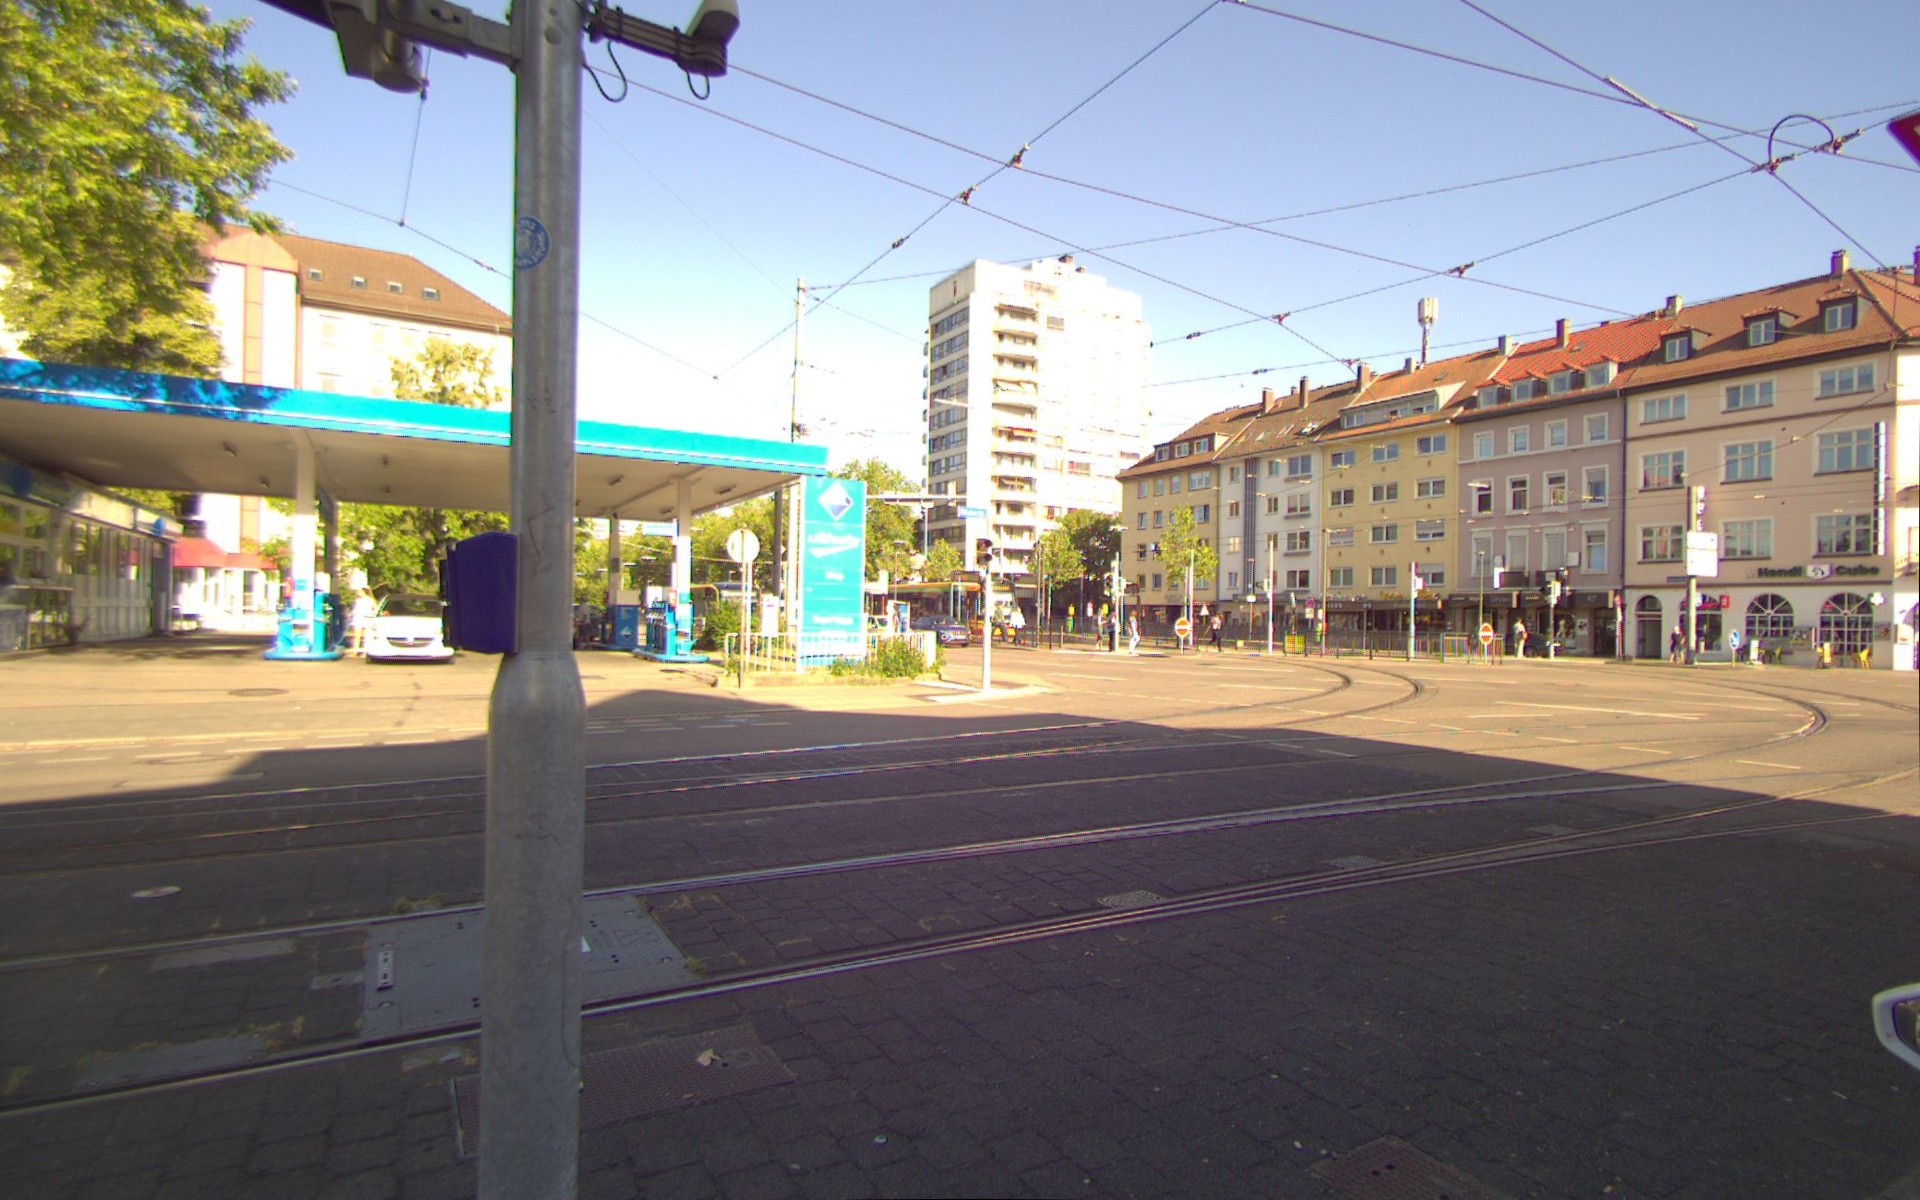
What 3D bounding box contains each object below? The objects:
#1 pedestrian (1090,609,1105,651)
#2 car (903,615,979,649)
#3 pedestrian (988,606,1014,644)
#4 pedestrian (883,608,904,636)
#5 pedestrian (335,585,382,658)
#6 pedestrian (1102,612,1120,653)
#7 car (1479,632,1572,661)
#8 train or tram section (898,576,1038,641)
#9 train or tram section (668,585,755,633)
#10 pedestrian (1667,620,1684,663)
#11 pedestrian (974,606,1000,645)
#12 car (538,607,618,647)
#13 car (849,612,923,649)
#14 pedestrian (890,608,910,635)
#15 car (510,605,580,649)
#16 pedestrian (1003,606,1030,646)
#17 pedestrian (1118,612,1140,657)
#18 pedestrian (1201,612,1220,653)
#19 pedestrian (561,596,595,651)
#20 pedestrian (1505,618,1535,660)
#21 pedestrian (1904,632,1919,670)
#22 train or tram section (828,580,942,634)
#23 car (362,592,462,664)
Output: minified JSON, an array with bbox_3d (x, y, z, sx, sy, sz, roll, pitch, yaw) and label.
[{"bbox_3d":[5.801,1.261,42.309,0.487,1.721,0.557,1,-1,-9],"label":"pedestrian"},{"bbox_3d":[-0.956,1.492,48.352,1.937,1.475,4.077,1,0,-30],"label":"car"},{"bbox_3d":[1.998,1.208,48.911,0.902,1.826,0.887,1,-1,-33],"label":"pedestrian"},{"bbox_3d":[-3.984,1.289,60.035,0.902,1.646,0.887,1,-1,-33],"label":"pedestrian"},{"bbox_3d":[-13.899,0.506,23.239,0.635,1.652,0.812,1,-1,-7],"label":"pedestrian"},{"bbox_3d":[6.147,1.328,40.907,0.698,1.646,0.800,1,-1,9],"label":"pedestrian"},{"bbox_3d":[30.777,2.497,54.719,1.980,1.483,3.962,1,-1,-34],"label":"car"},{"bbox_3d":[0.232,0.518,58.968,3.252,3.459,10.157,1,-1,-33],"label":"train or tram section"},{"bbox_3d":[-15.029,0.452,60.043,2.233,2.627,10.398,2,0,-30],"label":"train or tram section"},{"bbox_3d":[34.212,1.984,48.025,0.498,2.040,0.507,1,-1,-27],"label":"pedestrian"},{"bbox_3d":[1.298,1.225,48.435,0.902,1.826,0.887,1,-1,-33],"label":"pedestrian"},{"bbox_3d":[-17.202,1.213,45.386,1.960,1.685,4.001,1,-1,2],"label":"car"},{"bbox_3d":[-3.504,1.394,46.810,1.976,1.615,3.970,1,-1,-29],"label":"car"},{"bbox_3d":[-3.683,1.305,61.376,0.902,1.646,0.887,1,-1,-33],"label":"pedestrian"},{"bbox_3d":[-13.500,0.865,32.581,1.752,1.332,3.520,1,-1,-28],"label":"car"},{"bbox_3d":[2.657,1.221,47.452,0.902,1.826,0.887,1,-1,-33],"label":"pedestrian"},{"bbox_3d":[6.573,1.335,38.988,0.732,1.721,0.555,1,-1,22],"label":"pedestrian"},{"bbox_3d":[10.772,1.390,43.237,0.684,1.721,0.782,1,-1,22],"label":"pedestrian"},{"bbox_3d":[-12.889,0.777,33.943,0.895,1.826,0.894,1,-1,-11],"label":"pedestrian"},{"bbox_3d":[24.498,1.696,43.960,0.801,1.842,0.871,1,-1,-29],"label":"pedestrian"},{"bbox_3d":[41.350,2.180,42.948,1.047,1.612,1.043,1,-1,11],"label":"pedestrian"},{"bbox_3d":[-5.249,0.521,67.586,3.252,3.335,10.157,1,-1,-33],"label":"train or tram section"},{"bbox_3d":[-12.270,0.608,22.437,1.773,1.461,3.968,2,-1,-30],"label":"car"}]
